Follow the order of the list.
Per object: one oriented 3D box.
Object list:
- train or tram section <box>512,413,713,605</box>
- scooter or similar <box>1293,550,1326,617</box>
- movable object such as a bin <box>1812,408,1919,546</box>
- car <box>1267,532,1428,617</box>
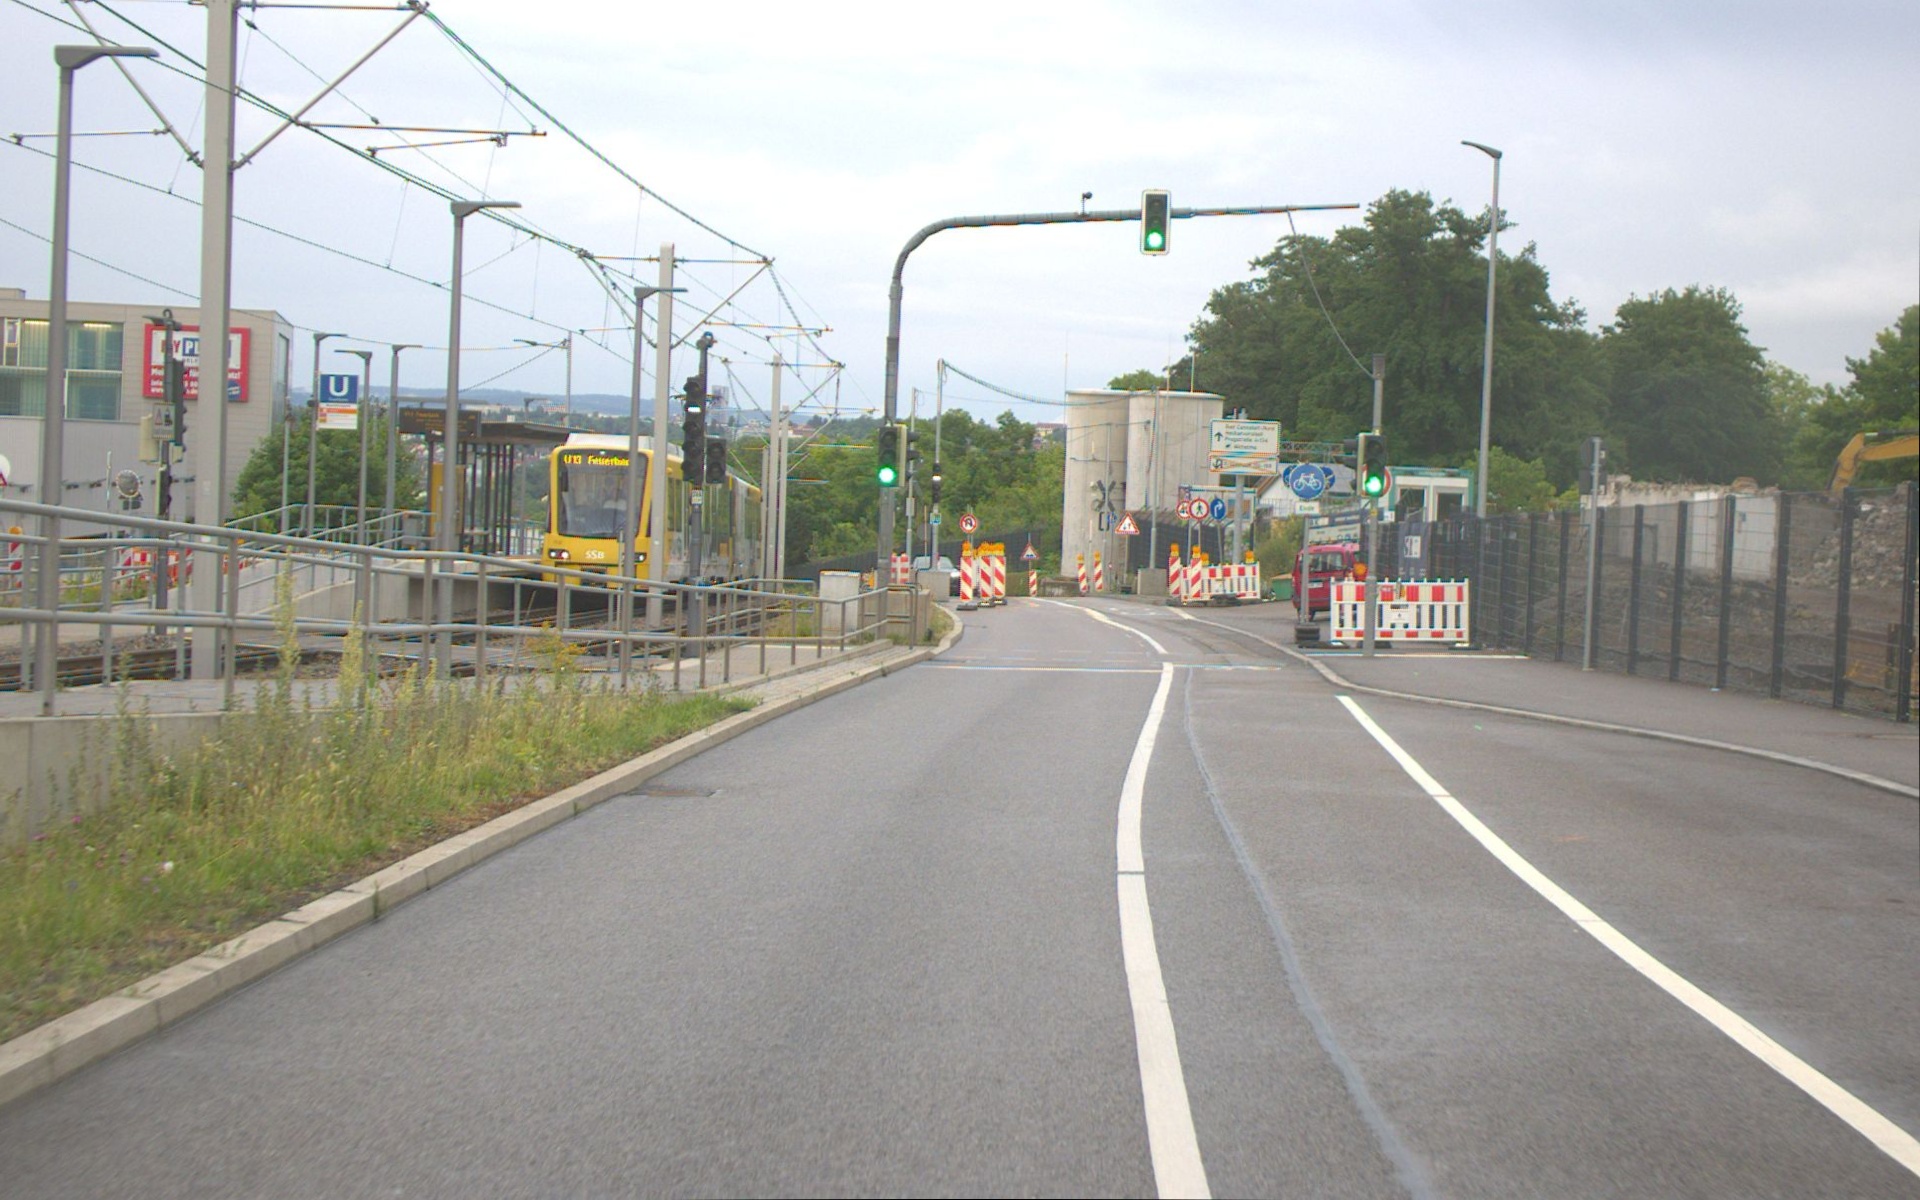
[{"bbox_3d":[-7.959,-2.085,81.556,2.955,3.872,19.574,3,1,-1],"label":"train or tram section"},{"bbox_3d":[7.175,-0.353,70.623,0.615,1.347,1.912,1,1,7],"label":"scooter or similar"},{"bbox_3d":[43.709,-5.380,152.194,11.235,5.975,3.490,1,0,8],"label":"movable object such as a bin"},{"bbox_3d":[8.606,-0.559,76.132,1.823,1.787,4.401,2,1,31],"label":"car"}]
